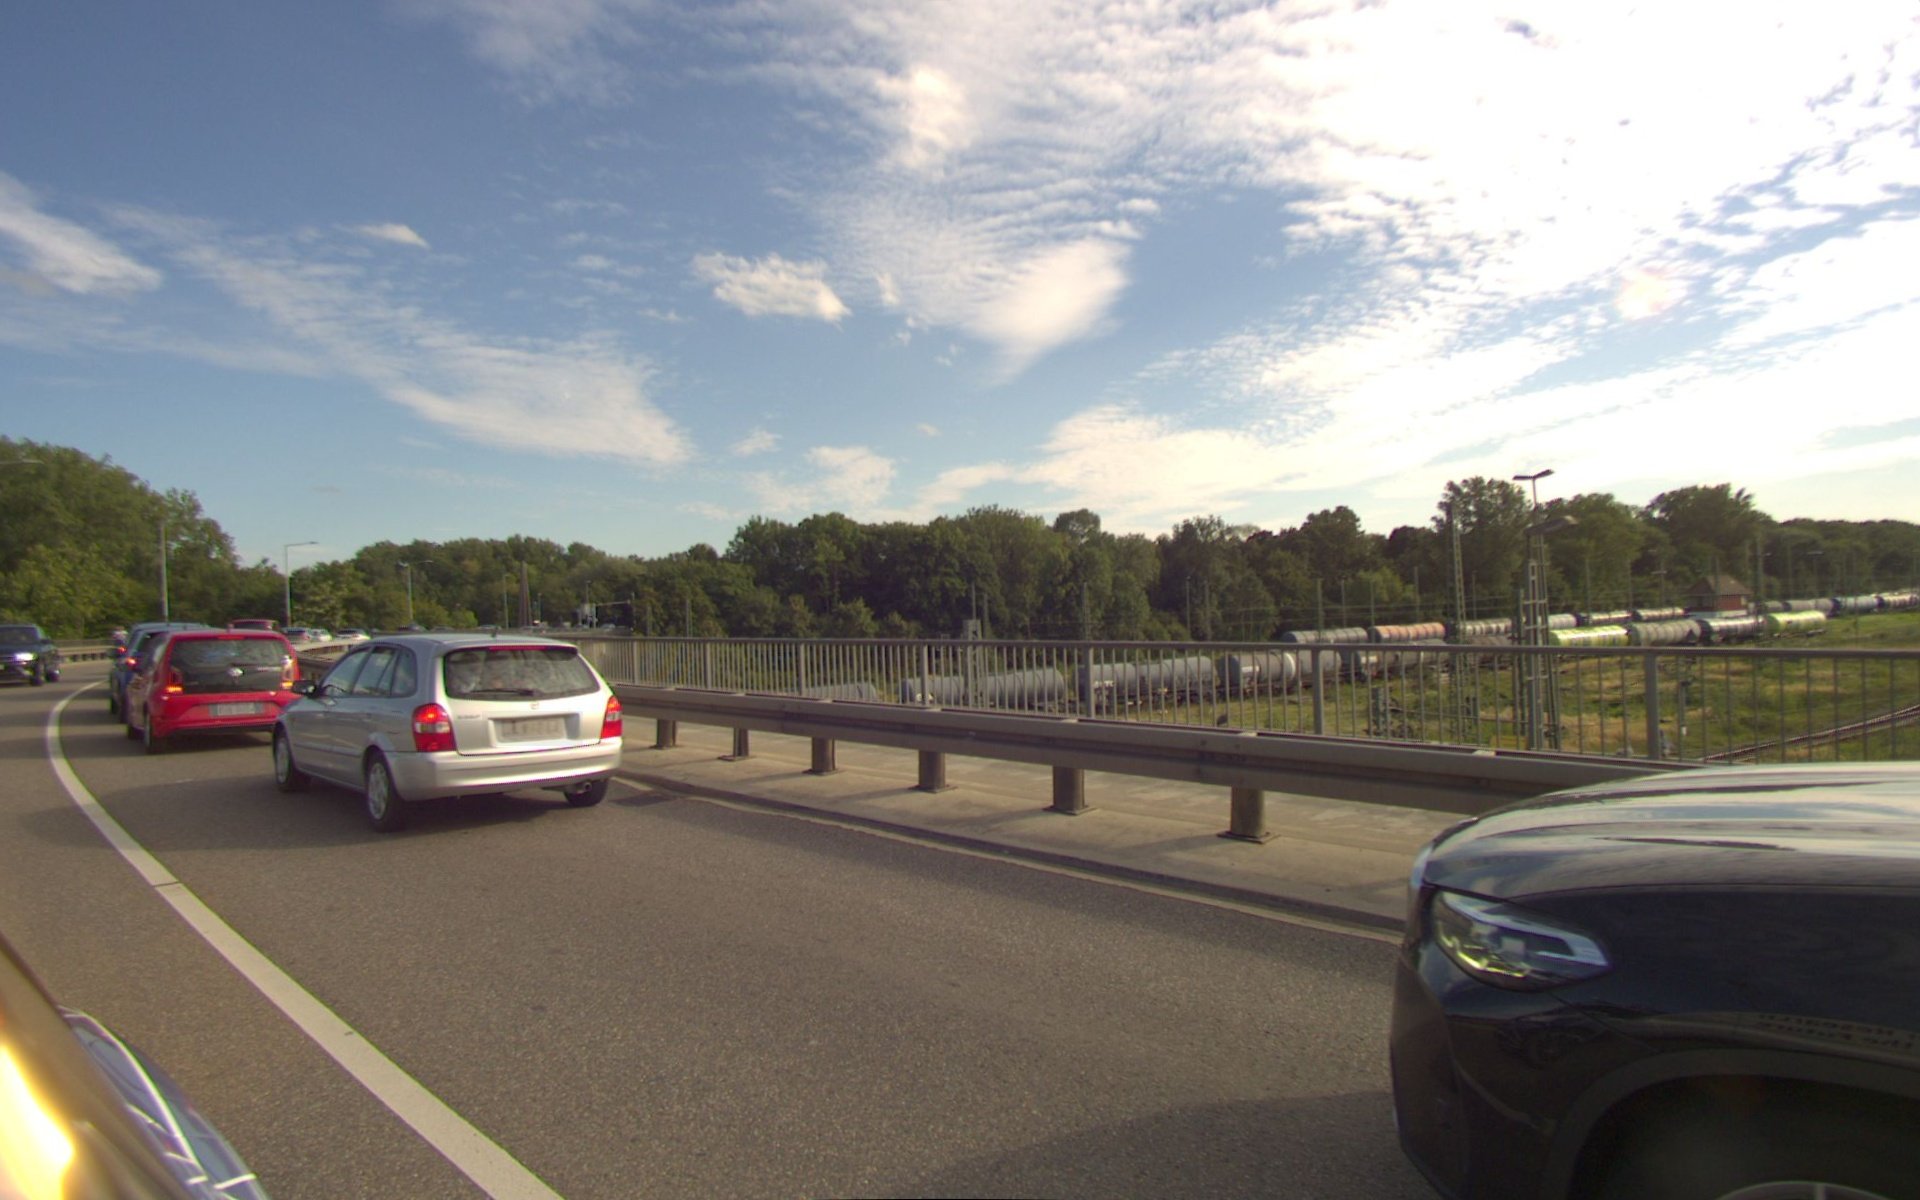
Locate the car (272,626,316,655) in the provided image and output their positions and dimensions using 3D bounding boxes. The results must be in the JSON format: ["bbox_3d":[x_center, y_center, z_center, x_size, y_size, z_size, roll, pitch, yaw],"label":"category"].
[{"bbox_3d":[-38.850,2.350,59.075,1.728,1.622,4.327,1,-2,-28],"label":"car"}]

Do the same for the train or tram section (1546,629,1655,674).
[{"bbox_3d":[75.390,5.930,118.856,16.460,4.748,3.106,0,-1,-29],"label":"train or tram section"}]

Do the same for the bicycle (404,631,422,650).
[{"bbox_3d":[-38.703,2.844,71.598,0.753,1.342,1.922,0,-1,-17],"label":"bicycle"}]

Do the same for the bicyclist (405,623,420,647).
[{"bbox_3d":[-38.706,2.486,71.550,0.755,1.673,1.123,0,-1,-18],"label":"bicyclist"}]

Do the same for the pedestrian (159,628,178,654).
[{"bbox_3d":[-48.810,2.531,62.401,0.667,1.555,0.964,0,-1,-22],"label":"pedestrian"}]

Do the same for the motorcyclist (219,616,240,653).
[{"bbox_3d":[-31.617,1.496,43.816,0.611,1.565,0.940,1,-2,-29],"label":"motorcyclist"}]

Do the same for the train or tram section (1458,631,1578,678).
[{"bbox_3d":[61.316,5.835,110.890,16.460,4.748,3.106,0,-1,-29],"label":"train or tram section"}]

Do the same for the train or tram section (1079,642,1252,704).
[{"bbox_3d":[17.950,6.136,87.312,16.460,4.748,3.106,0,-1,-29],"label":"train or tram section"}]

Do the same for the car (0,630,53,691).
[{"bbox_3d":[-25.787,1.580,27.185,1.791,1.519,4.400,1,-2,-38],"label":"car"}]

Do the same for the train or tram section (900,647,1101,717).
[{"bbox_3d":[3.407,6.246,79.511,16.460,4.748,3.106,0,-1,-28],"label":"train or tram section"}]

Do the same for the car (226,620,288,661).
[{"bbox_3d":[-34.720,1.973,50.065,1.979,1.918,4.883,1,-2,-29],"label":"car"}]

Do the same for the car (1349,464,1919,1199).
[{"bbox_3d":[3.108,0.629,1.154,4.635,1.662,1.871,-2,-2,38],"label":"car"}]

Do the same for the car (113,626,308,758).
[{"bbox_3d":[-9.875,1.086,13.235,1.580,1.475,3.739,1,-2,-44],"label":"car"}]

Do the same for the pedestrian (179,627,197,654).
[{"bbox_3d":[-48.555,2.553,63.630,0.667,1.674,0.868,0,-1,-22],"label":"pedestrian"}]

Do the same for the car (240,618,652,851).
[{"bbox_3d":[-4.476,0.913,8.489,4.265,1.466,1.713,-2,-2,43],"label":"car"}]

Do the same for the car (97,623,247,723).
[{"bbox_3d":[-13.775,1.179,17.609,1.777,1.531,4.012,1,-2,-42],"label":"car"}]

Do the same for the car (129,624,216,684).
[{"bbox_3d":[-23.444,1.560,30.261,1.658,1.662,4.310,1,-2,-33],"label":"car"}]

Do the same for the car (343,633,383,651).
[{"bbox_3d":[-51.184,3.569,86.884,1.789,1.519,4.403,0,-2,-15],"label":"car"}]

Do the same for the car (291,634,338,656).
[{"bbox_3d":[-48.299,3.353,75.779,1.789,1.519,4.403,0,-2,-16],"label":"car"}]

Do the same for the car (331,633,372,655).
[{"bbox_3d":[-43.803,3.174,72.974,1.716,1.512,4.090,0,-2,-19],"label":"car"}]

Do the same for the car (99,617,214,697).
[{"bbox_3d":[-18.591,1.250,23.474,1.901,1.662,4.597,1,-2,-38],"label":"car"}]

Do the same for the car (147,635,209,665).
[{"bbox_3d":[-39.729,2.494,51.495,1.789,1.415,4.405,1,-2,-28],"label":"car"}]

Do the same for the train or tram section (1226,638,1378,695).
[{"bbox_3d":[32.339,6.098,95.130,16.460,4.748,3.106,0,-1,-29],"label":"train or tram section"}]

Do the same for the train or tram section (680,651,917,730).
[{"bbox_3d":[-11.167,6.212,71.810,16.460,4.748,3.106,0,-1,-28],"label":"train or tram section"}]

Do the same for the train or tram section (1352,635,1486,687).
[{"bbox_3d":[46.874,6.055,103.004,16.460,4.748,3.106,0,-1,-29],"label":"train or tram section"}]
